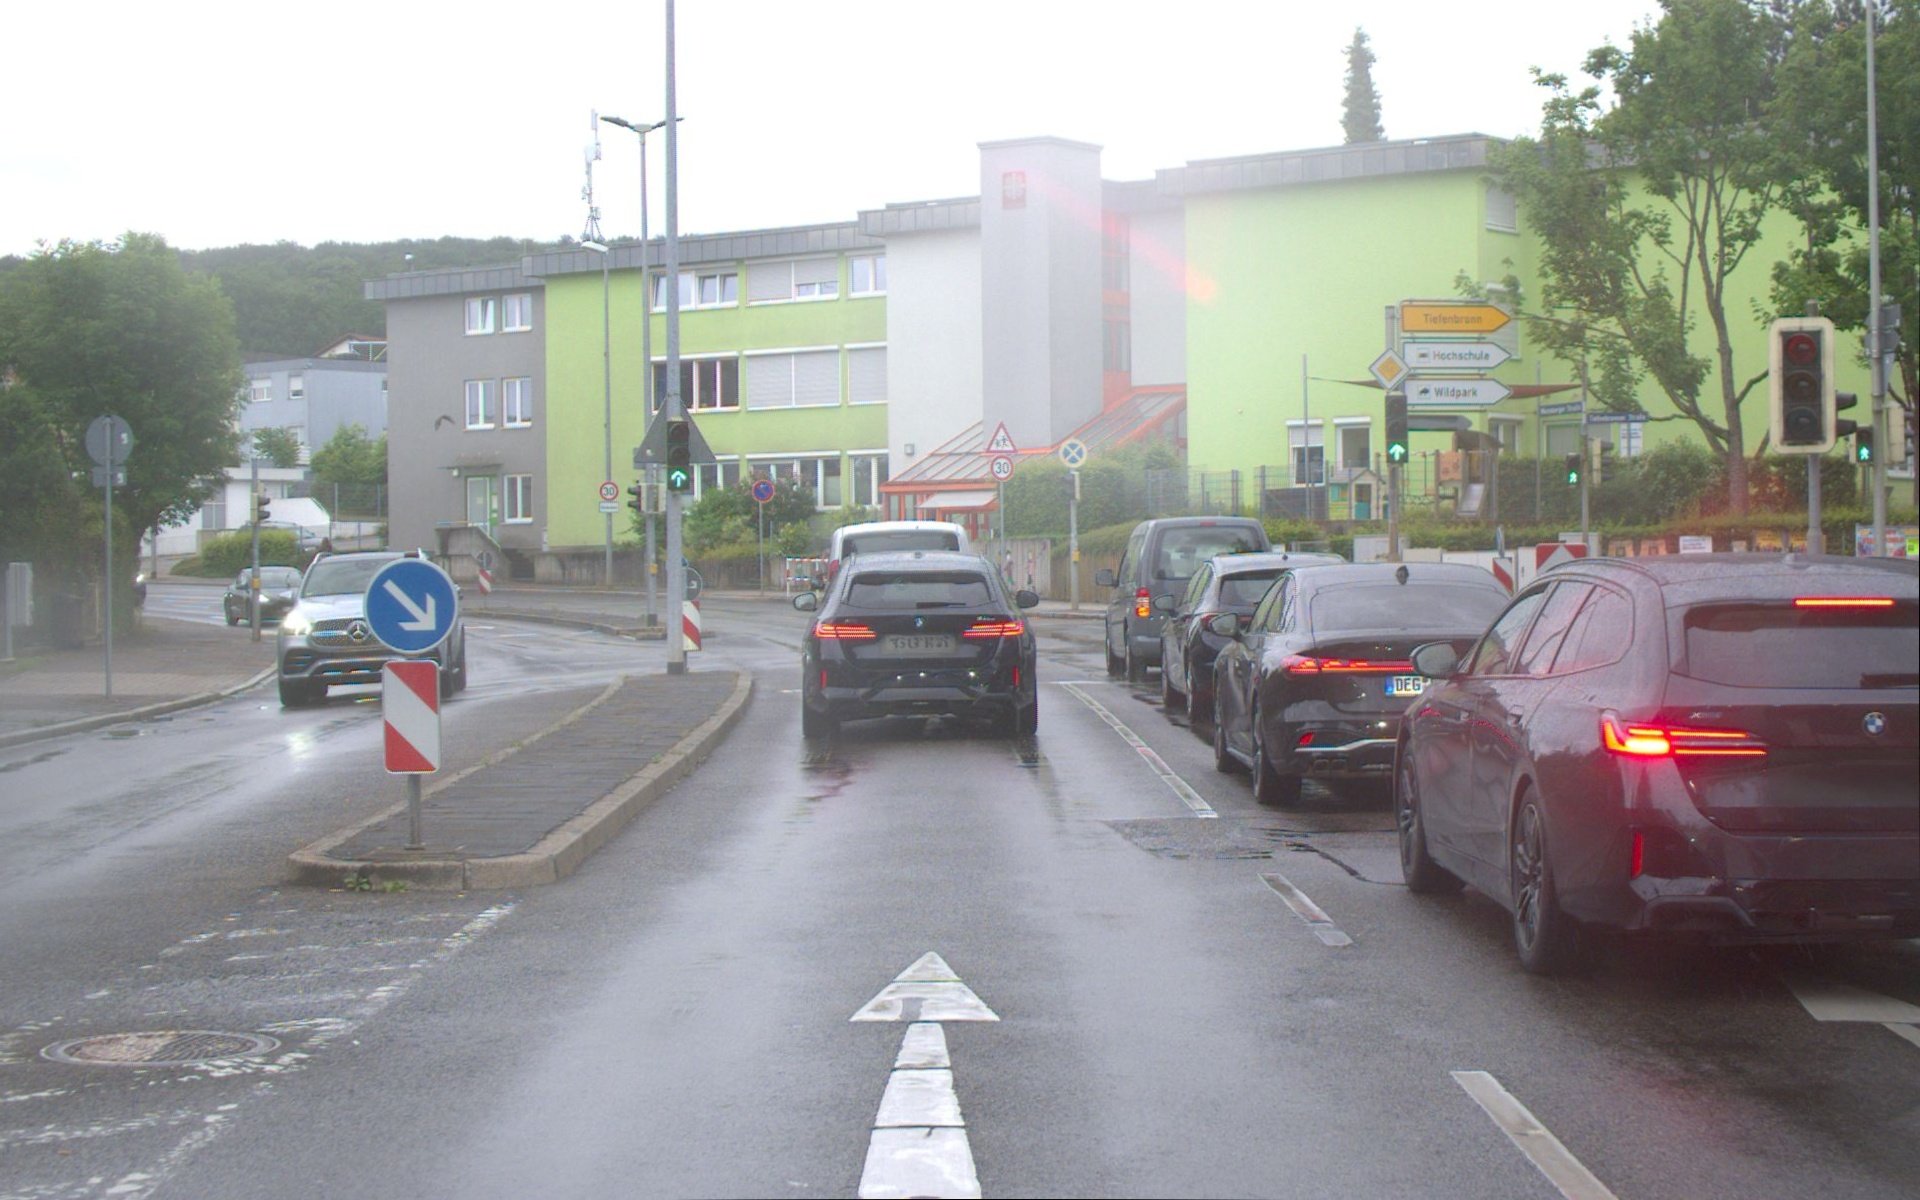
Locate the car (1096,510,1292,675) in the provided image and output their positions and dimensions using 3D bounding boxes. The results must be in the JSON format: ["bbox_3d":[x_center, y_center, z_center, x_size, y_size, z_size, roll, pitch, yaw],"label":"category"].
[{"bbox_3d":[2.606,-0.127,39.168,1.783,1.728,4.087,-2,1,-2],"label":"car"}]

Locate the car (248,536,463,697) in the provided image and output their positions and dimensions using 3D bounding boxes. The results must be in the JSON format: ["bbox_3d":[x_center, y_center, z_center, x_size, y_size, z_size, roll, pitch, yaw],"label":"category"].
[{"bbox_3d":[-7.169,0.147,41.161,2.041,1.710,4.482,-2,2,-4],"label":"car"}]

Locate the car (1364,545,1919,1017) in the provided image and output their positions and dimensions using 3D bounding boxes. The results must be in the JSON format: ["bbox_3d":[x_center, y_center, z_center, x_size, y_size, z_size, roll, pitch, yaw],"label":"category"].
[{"bbox_3d":[2.862,0.546,13.472,1.905,1.453,4.778,-1,1,-1],"label":"car"}]

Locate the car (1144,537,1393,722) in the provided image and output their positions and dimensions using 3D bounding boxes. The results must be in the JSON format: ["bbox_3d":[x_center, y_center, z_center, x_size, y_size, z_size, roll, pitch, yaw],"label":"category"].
[{"bbox_3d":[2.700,0.210,30.864,1.850,1.481,4.087,-2,1,0],"label":"car"}]

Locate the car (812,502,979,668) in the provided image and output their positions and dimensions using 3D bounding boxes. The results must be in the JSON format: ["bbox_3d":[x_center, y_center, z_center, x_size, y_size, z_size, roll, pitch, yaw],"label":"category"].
[{"bbox_3d":[-0.826,-0.228,41.346,1.716,1.838,4.087,-2,2,-4],"label":"car"}]

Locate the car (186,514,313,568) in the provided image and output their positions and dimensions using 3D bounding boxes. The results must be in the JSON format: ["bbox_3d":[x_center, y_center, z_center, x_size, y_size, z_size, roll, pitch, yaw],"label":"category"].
[{"bbox_3d":[-26.556,-2.213,128.414,4.394,1.766,2.001,-3,1,-17],"label":"car"}]

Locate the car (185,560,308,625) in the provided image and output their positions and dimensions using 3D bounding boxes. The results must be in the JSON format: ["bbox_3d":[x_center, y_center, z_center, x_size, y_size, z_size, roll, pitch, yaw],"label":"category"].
[{"bbox_3d":[-17.962,-0.183,86.405,1.792,1.484,4.154,-4,1,-29],"label":"car"}]

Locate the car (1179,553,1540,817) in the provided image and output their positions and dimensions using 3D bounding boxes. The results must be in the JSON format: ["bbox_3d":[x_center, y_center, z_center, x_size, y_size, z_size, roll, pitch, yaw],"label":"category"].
[{"bbox_3d":[2.403,0.449,21.693,1.706,1.422,4.509,-1,1,0],"label":"car"}]

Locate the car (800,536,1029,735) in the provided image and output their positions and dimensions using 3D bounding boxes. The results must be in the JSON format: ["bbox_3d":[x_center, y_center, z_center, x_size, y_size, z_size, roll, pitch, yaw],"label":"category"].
[{"bbox_3d":[-0.442,0.240,28.698,1.682,1.501,3.774,-2,1,-4],"label":"car"}]
